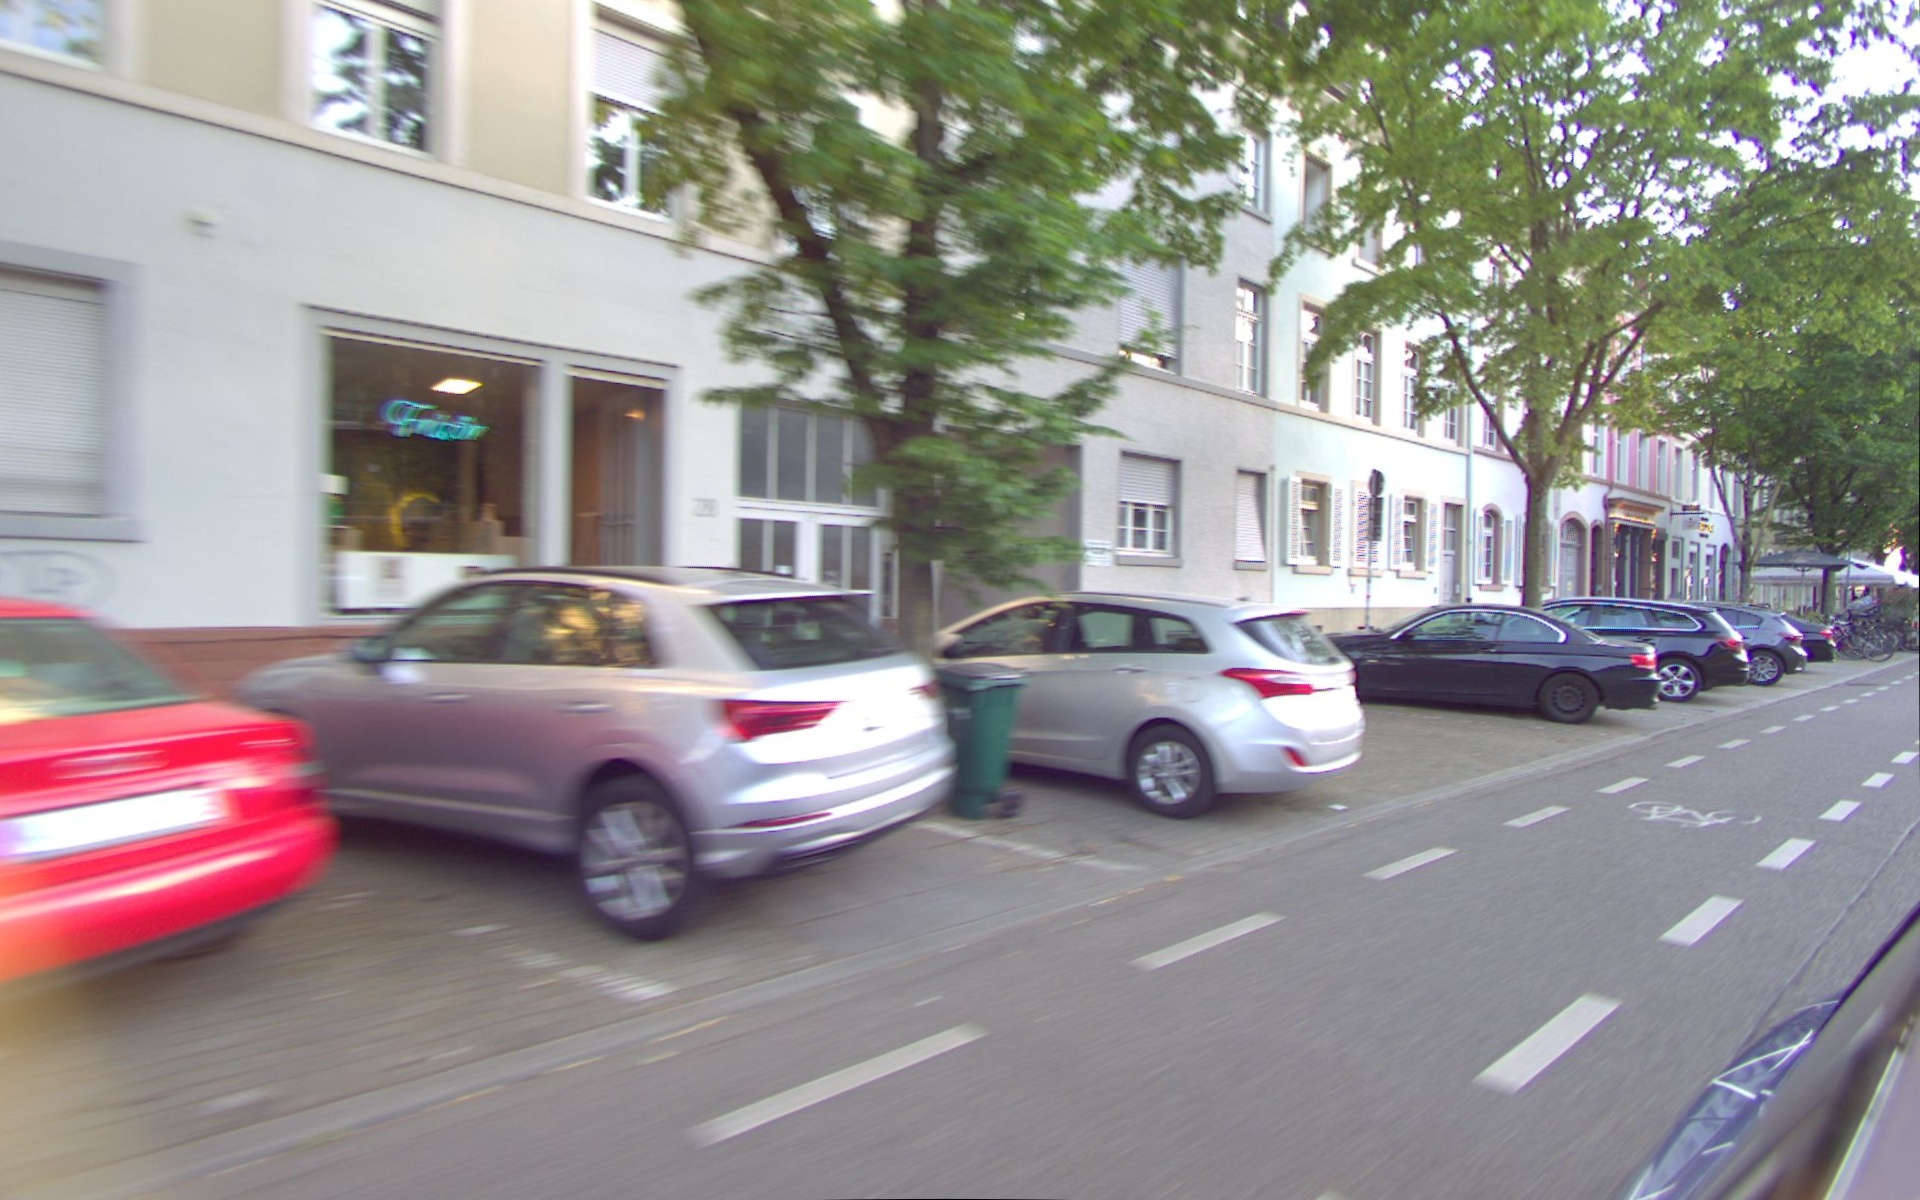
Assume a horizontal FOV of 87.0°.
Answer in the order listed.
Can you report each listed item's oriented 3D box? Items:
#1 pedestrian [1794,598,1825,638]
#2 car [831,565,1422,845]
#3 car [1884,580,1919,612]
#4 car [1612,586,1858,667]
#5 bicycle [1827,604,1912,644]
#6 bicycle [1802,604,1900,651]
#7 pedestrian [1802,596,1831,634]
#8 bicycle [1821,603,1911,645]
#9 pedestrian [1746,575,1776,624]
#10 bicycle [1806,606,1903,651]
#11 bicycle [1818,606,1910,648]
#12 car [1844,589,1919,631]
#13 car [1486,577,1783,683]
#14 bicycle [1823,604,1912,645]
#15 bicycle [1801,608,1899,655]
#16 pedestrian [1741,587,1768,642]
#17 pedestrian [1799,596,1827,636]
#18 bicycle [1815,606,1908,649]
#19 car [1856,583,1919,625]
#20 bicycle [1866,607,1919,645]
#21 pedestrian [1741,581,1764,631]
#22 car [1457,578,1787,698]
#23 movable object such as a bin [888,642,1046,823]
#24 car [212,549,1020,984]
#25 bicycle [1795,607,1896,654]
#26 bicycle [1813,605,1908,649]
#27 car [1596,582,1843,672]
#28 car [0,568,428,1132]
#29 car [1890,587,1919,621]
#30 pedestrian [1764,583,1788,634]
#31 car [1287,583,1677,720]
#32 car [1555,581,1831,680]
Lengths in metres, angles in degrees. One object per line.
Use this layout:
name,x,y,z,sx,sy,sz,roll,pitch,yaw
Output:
pedestrian,27.933,0.583,33.288,0.588,1.308,0.504,0,0,-2
car,1.164,0.565,8.111,4.244,1.568,1.991,3,2,39
car,59.030,-0.156,60.635,4.942,1.849,2.184,3,2,32
car,17.368,0.525,22.977,4.143,1.444,1.804,5,3,31
bicycle,27.675,0.710,30.822,0.598,1.044,1.819,1,4,-42
bicycle,24.189,0.730,27.493,0.663,1.080,1.890,0,4,-42
pedestrian,30.509,0.541,36.047,0.546,1.322,0.710,1,1,22
bicycle,26.707,0.690,29.859,0.598,1.044,1.890,1,4,-42
pedestrian,29.517,-0.040,37.307,0.696,1.785,0.710,0,0,22
bicycle,24.671,0.765,27.941,0.598,1.044,1.890,1,4,-42
bicycle,26.197,0.760,29.364,0.598,1.044,1.890,1,4,-42
car,38.622,0.423,40.907,3.932,1.572,1.692,3,2,25
car,11.859,0.452,18.188,4.088,1.488,1.970,4,3,25
bicycle,27.179,0.714,30.332,0.598,1.044,1.890,1,4,-42
bicycle,23.717,0.818,27.000,0.581,1.044,1.866,0,4,-43
pedestrian,26.125,0.467,33.286,0.878,1.785,0.551,0,0,-41
pedestrian,28.684,0.537,34.036,0.494,1.308,0.600,0,1,-38
bicycle,25.711,0.767,28.890,0.598,1.044,1.890,1,4,-42
car,44.248,0.219,46.478,4.112,1.829,1.994,3,2,21
bicycle,28.914,0.811,30.943,0.547,1.044,1.682,1,4,-42
pedestrian,28.347,0.202,36.188,0.548,1.785,0.843,0,0,32
car,10.363,0.507,16.295,4.088,1.488,1.998,4,3,25
movable object such as a bin,0.039,0.827,6.651,0.820,0.993,0.583,5,4,39
car,-1.979,0.559,5.647,4.224,1.579,1.881,3,3,27
bicycle,23.272,0.780,26.630,0.524,1.044,1.907,1,4,-42
bicycle,25.216,0.734,28.370,0.598,1.044,1.890,1,4,-42
car,15.784,0.484,21.334,3.935,1.488,1.977,5,3,33
car,-4.295,0.629,3.914,4.091,1.442,1.883,2,2,25
car,50.868,0.333,51.728,1.973,1.708,4.658,1,3,-41
pedestrian,28.900,0.301,35.849,0.548,1.785,0.707,1,0,32
car,6.674,0.554,13.367,4.223,1.409,1.997,3,2,27
car,14.058,0.502,19.681,4.105,1.488,1.801,5,3,35
